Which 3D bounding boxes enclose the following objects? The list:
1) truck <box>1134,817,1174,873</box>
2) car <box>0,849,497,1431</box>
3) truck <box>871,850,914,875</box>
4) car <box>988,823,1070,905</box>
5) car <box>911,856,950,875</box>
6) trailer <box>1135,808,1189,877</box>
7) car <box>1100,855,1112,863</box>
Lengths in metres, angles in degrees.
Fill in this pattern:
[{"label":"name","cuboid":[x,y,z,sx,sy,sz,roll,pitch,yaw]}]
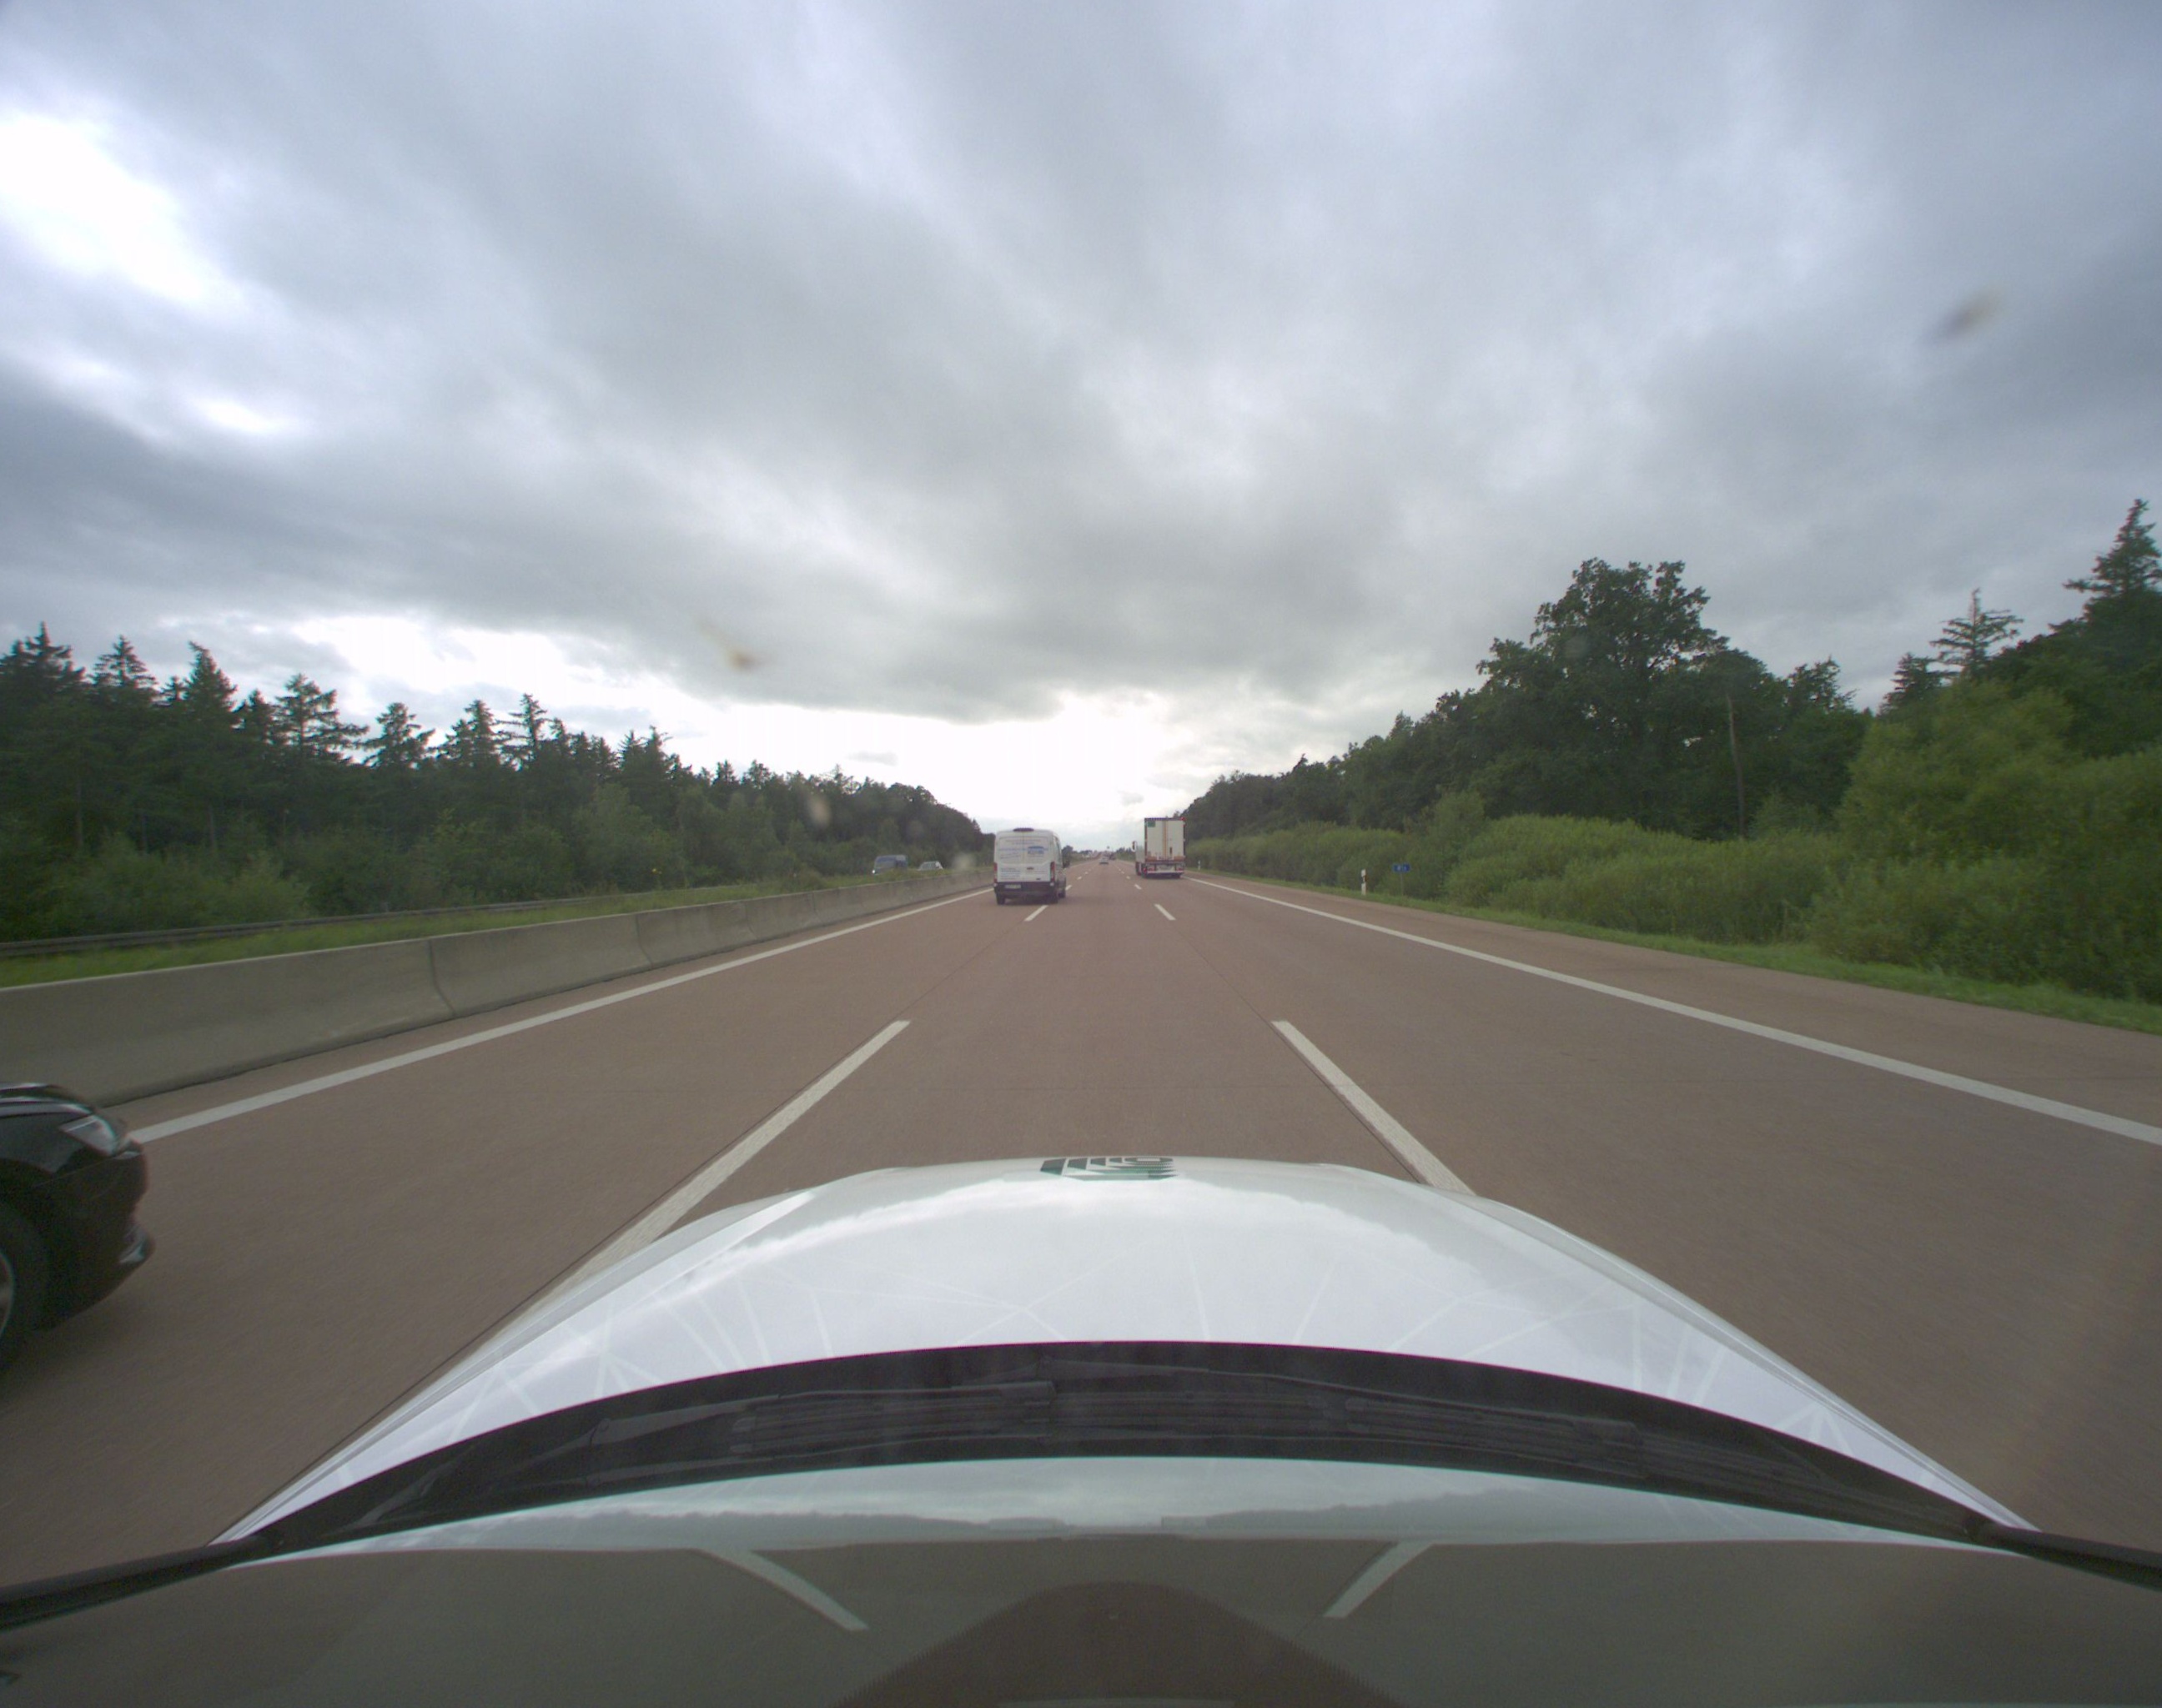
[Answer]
[{"label":"truck","cuboid":[5.843,-0.700,65.781,2.910,4.294,5.337,-1,0,2]},{"label":"car","cuboid":[-3.992,0.766,1.068,2.076,1.550,5.680,0,0,4]},{"label":"truck","cuboid":[-17.017,0.735,73.836,2.338,2.161,6.045,-1,0,2]},{"label":"car","cuboid":[-1.663,0.306,28.874,2.129,2.507,7.135,-1,0,2]},{"label":"car","cuboid":[-13.419,0.976,72.828,2.338,1.626,5.130,-1,0,2]},{"label":"trailer","cuboid":[5.567,-0.703,58.217,2.910,4.294,13.619,-1,0,2]},{"label":"car","cuboid":[5.124,1.045,165.476,2.154,1.451,4.723,0,0,3]}]
